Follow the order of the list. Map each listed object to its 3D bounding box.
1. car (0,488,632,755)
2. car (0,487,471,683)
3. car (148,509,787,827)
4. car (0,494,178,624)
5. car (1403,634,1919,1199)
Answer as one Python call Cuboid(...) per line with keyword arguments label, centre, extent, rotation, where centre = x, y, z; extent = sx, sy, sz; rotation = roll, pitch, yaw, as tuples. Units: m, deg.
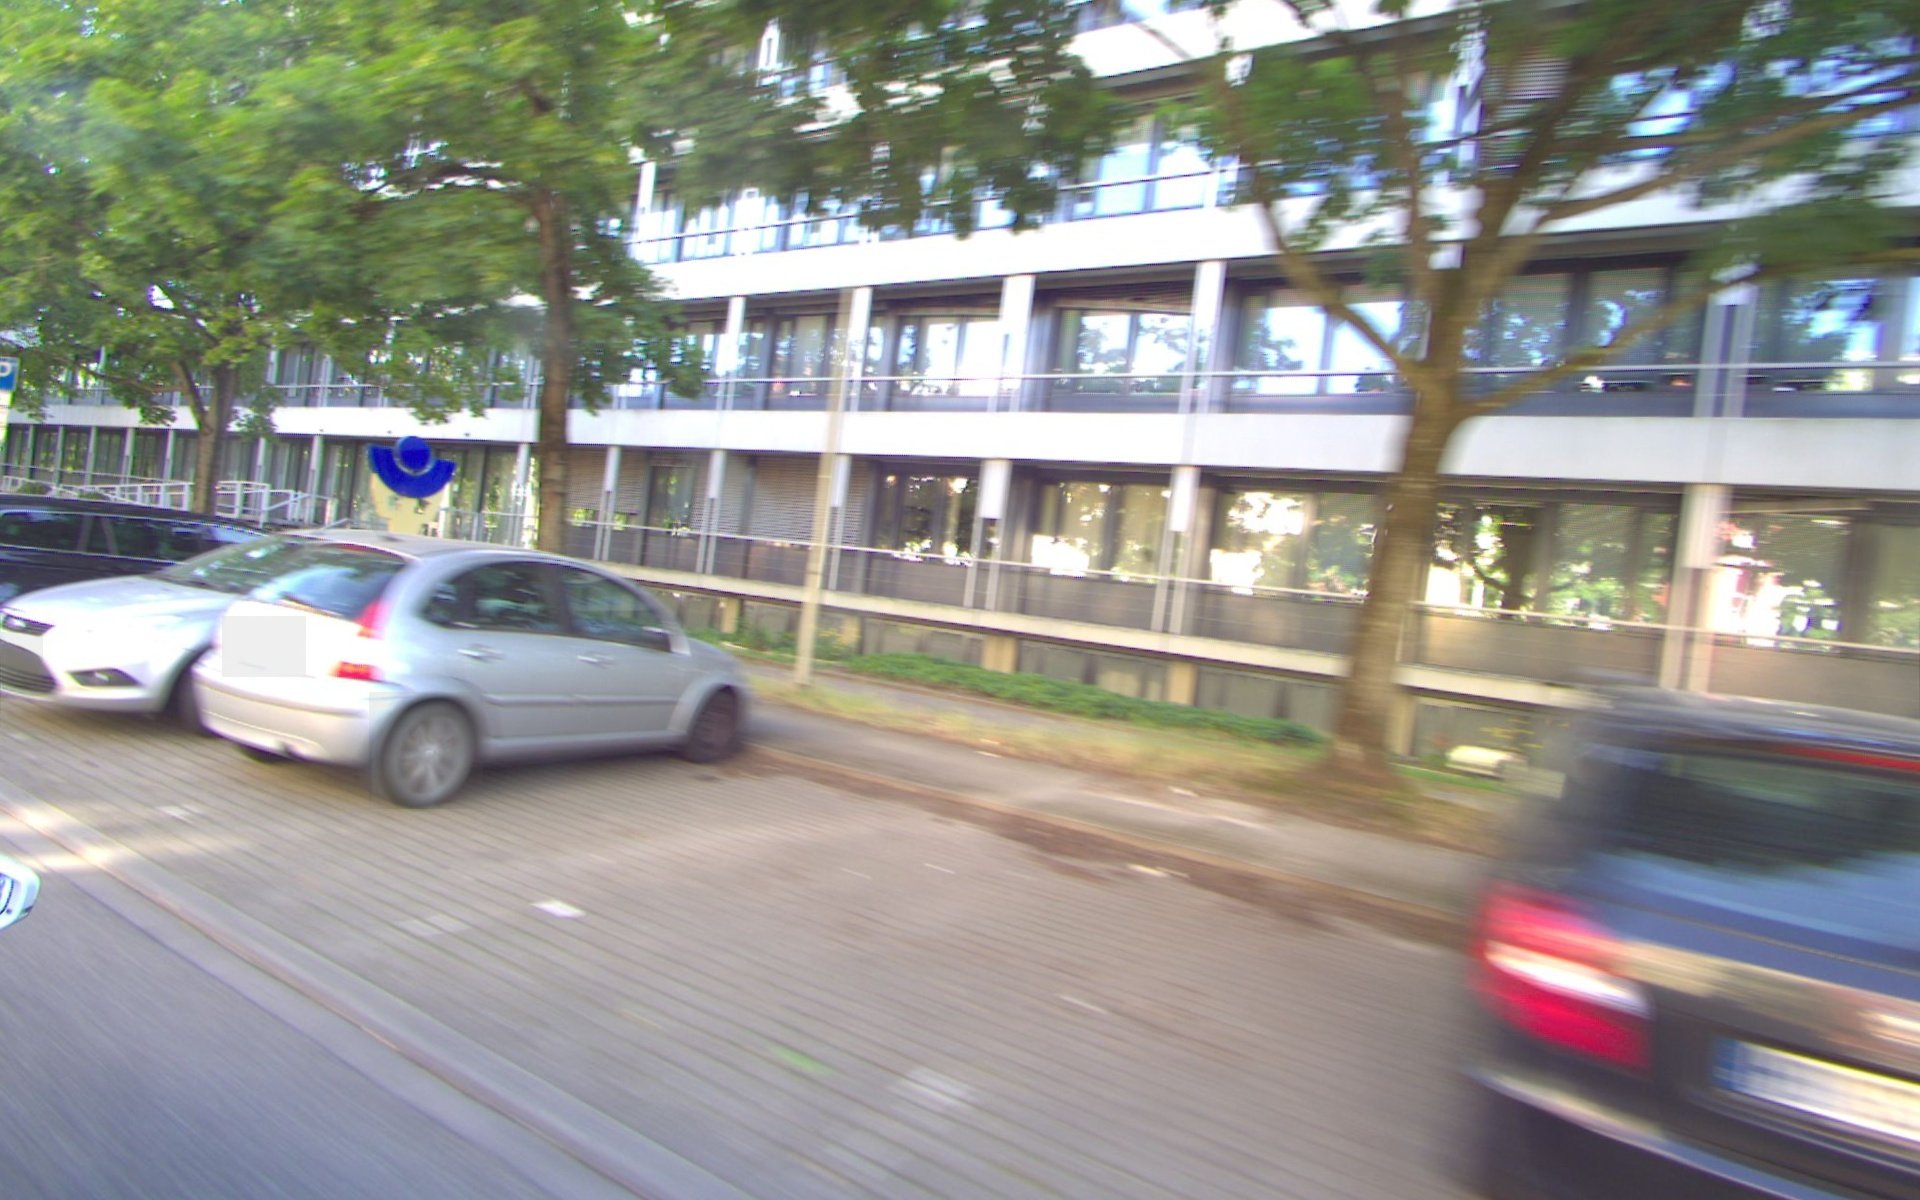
Cuboid(label="car", centre=(-5.077, 0.156, 8.086), extent=(1.971, 1.512, 4.288), rotation=(7, 1, 32))
Cuboid(label="car", centre=(-7.357, -0.133, 9.558), extent=(1.734, 1.512, 4.593), rotation=(7, 1, 31))
Cuboid(label="car", centre=(-3.058, 0.395, 7.082), extent=(1.588, 1.512, 3.749), rotation=(7, 1, 27))
Cuboid(label="car", centre=(-11.958, -0.585, 11.819), extent=(1.681, 1.438, 3.974), rotation=(7, 1, 30))
Cuboid(label="car", centre=(2.858, 1.049, 3.721), extent=(1.888, 1.562, 4.522), rotation=(7, 1, 27))
